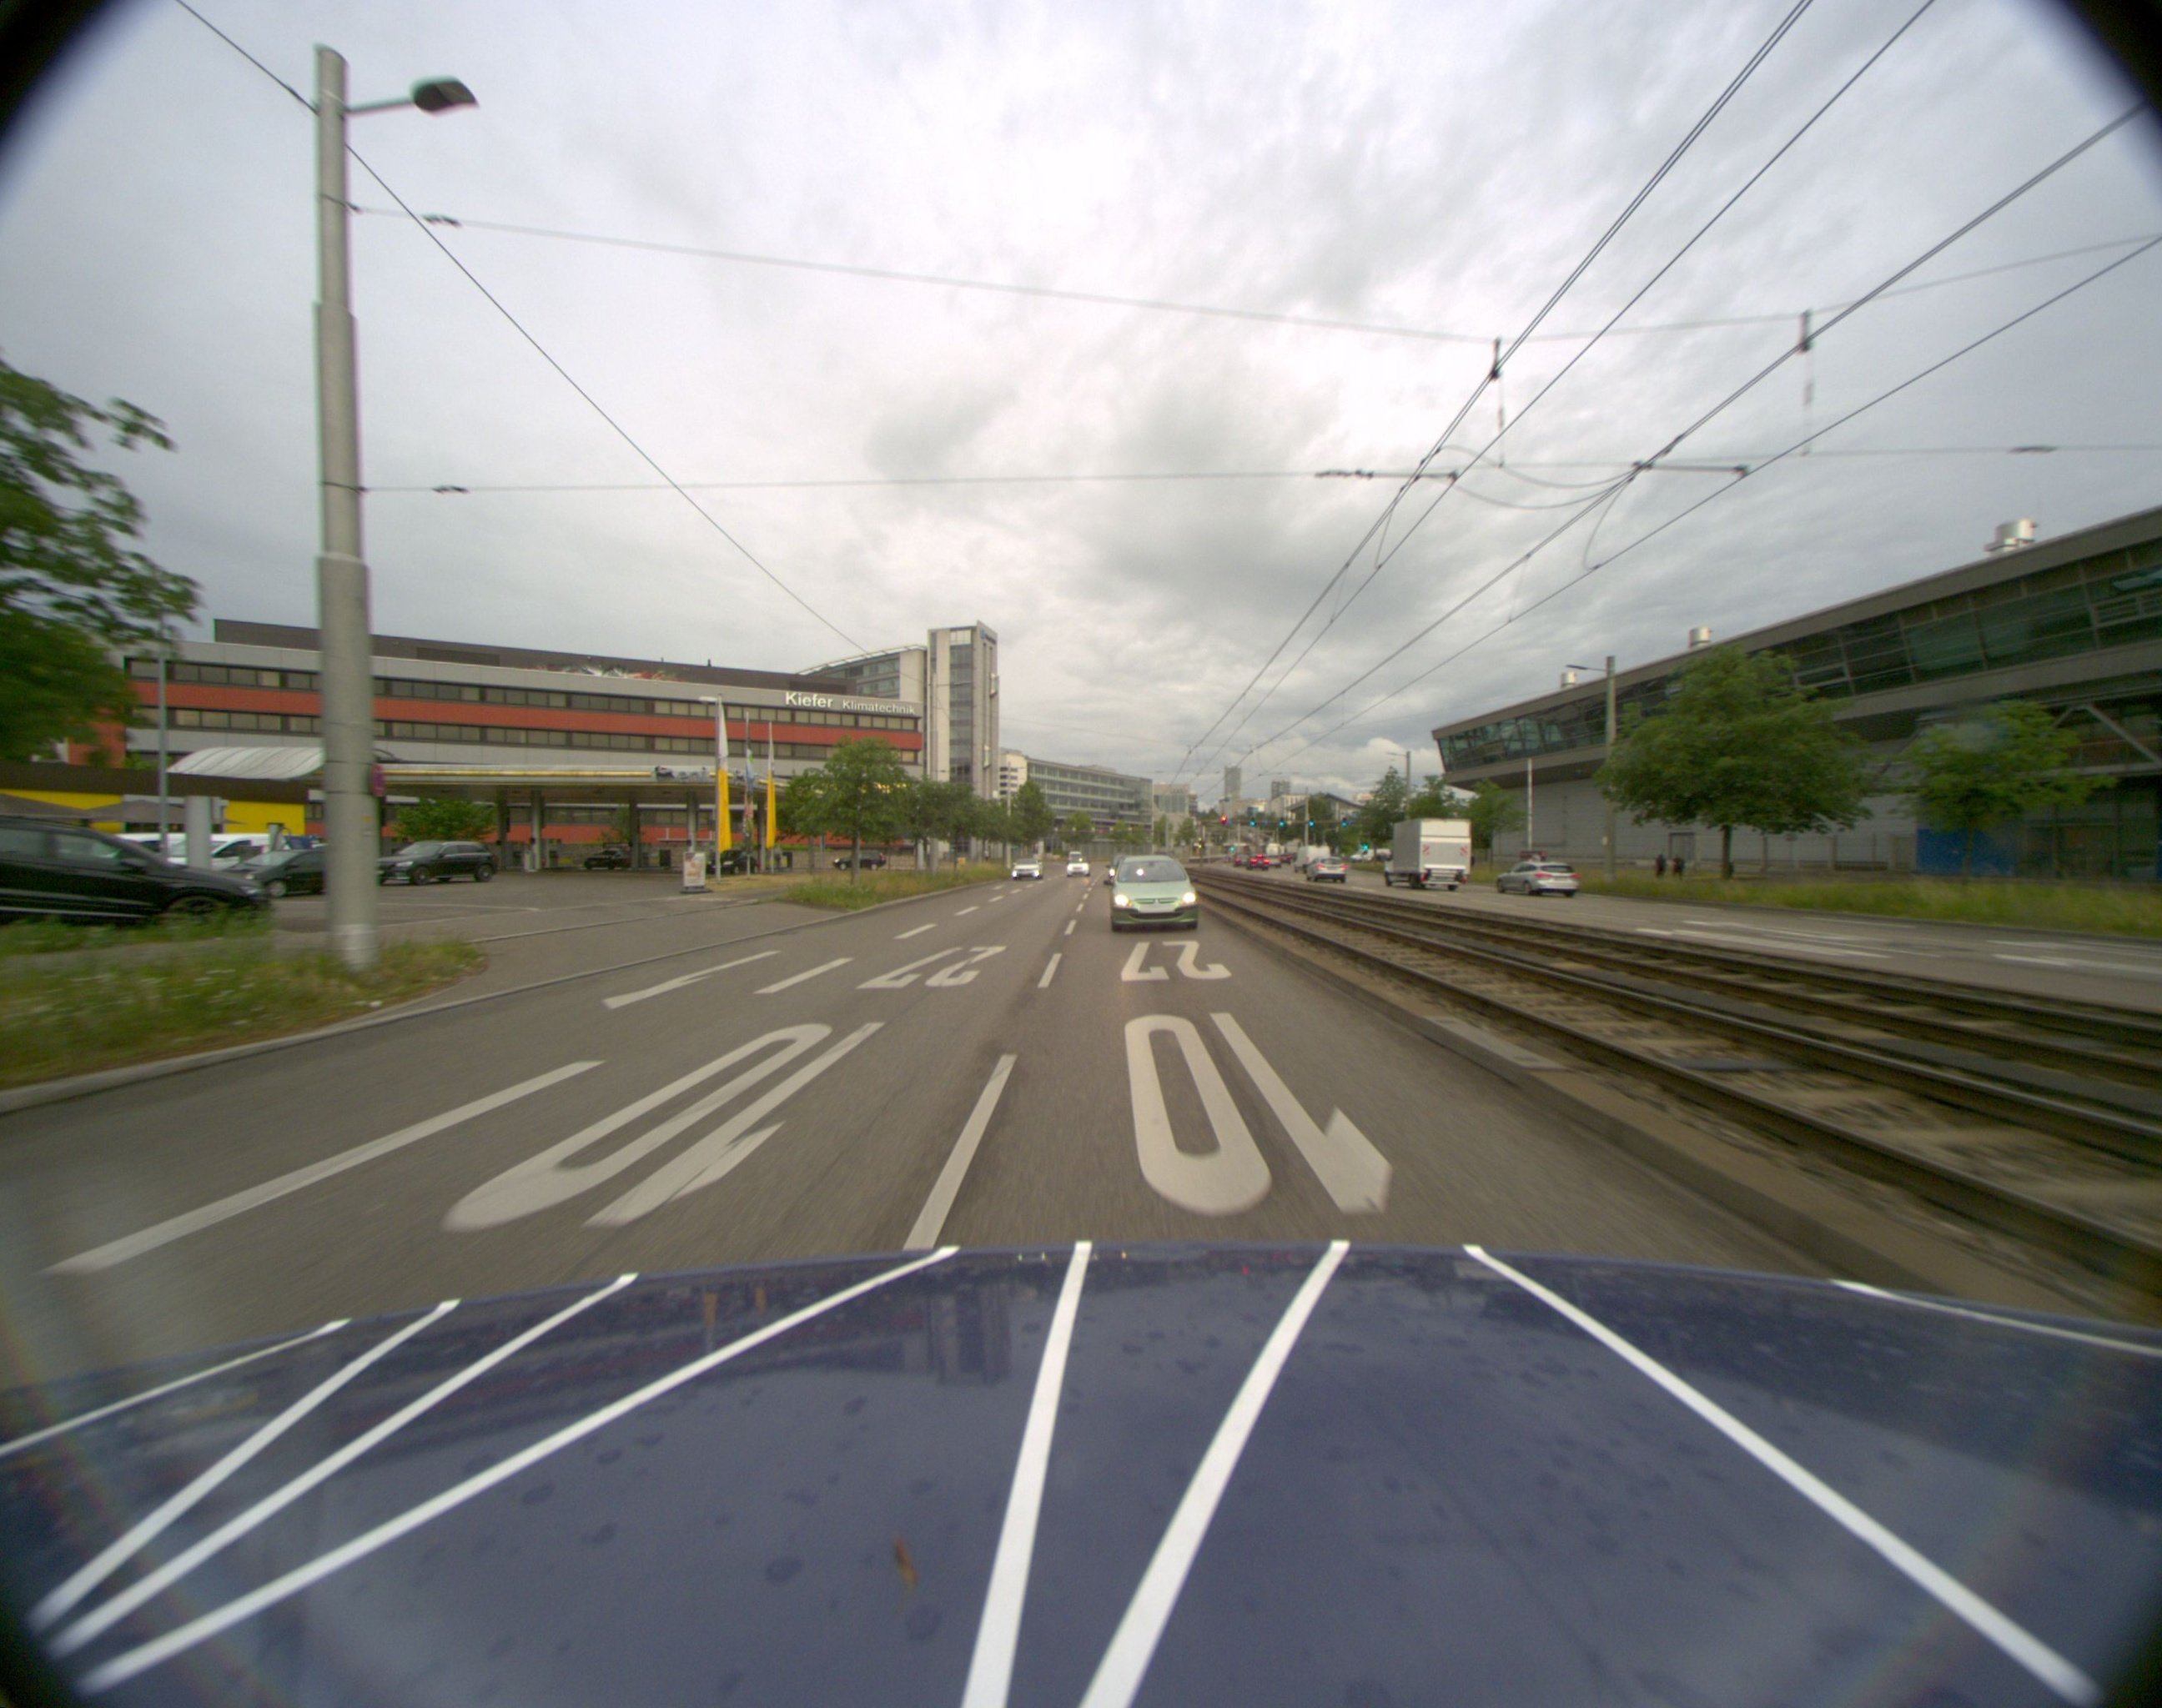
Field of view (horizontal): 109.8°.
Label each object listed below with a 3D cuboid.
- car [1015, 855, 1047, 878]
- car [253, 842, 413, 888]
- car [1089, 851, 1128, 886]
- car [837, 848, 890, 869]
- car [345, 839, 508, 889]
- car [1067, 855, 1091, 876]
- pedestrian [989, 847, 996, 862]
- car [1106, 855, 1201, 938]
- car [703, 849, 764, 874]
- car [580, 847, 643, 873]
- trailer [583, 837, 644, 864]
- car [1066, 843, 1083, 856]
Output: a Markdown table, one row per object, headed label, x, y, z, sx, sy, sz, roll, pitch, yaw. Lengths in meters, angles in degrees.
| label | x | y | z | sx | sy | sz | roll | pitch | yaw |
| --- | --- | --- | --- | --- | --- | --- | --- | --- | --- |
| car | -3.470 | 0.844 | 53.374 | 1.878 | 1.485 | 3.836 | 0 | 0 | 1 |
| car | -23.315 | 0.304 | 23.857 | 1.394 | 1.330 | 3.491 | 1 | 1 | 5 |
| car | 1.398 | 0.663 | 37.419 | 1.761 | 1.535 | 3.715 | -2 | 1 | 4 |
| car | -19.158 | 0.365 | 66.945 | 4.363 | 1.637 | 1.791 | -3 | 1 | -18 |
| car | -25.026 | 0.327 | 29.340 | 1.998 | 1.726 | 4.718 | 1 | 1 | 5 |
| car | -0.189 | 0.878 | 59.332 | 1.819 | 1.584 | 3.835 | 0 | 0 | -2 |
| pedestrian | -11.484 | 0.114 | 98.624 | 0.683 | 1.890 | 0.677 | -3 | 1 | -23 |
| car | 1.462 | 0.821 | 16.627 | 1.762 | 1.489 | 4.137 | -2 | 1 | 2 |
| car | -20.581 | 0.412 | 45.214 | 1.783 | 1.410 | 3.782 | 1 | 0 | 2 |
| car | -33.066 | 0.379 | 53.640 | 1.902 | 1.640 | 3.999 | 4 | 1 | 0 |
| trailer | -38.100 | -0.251 | 62.025 | 4.005 | 2.134 | 1.835 | 0 | 0 | -25 |
| car | -0.852 | -0.586 | 101.784 | 1.889 | 1.584 | 3.983 | 0 | 0 | 6 |
